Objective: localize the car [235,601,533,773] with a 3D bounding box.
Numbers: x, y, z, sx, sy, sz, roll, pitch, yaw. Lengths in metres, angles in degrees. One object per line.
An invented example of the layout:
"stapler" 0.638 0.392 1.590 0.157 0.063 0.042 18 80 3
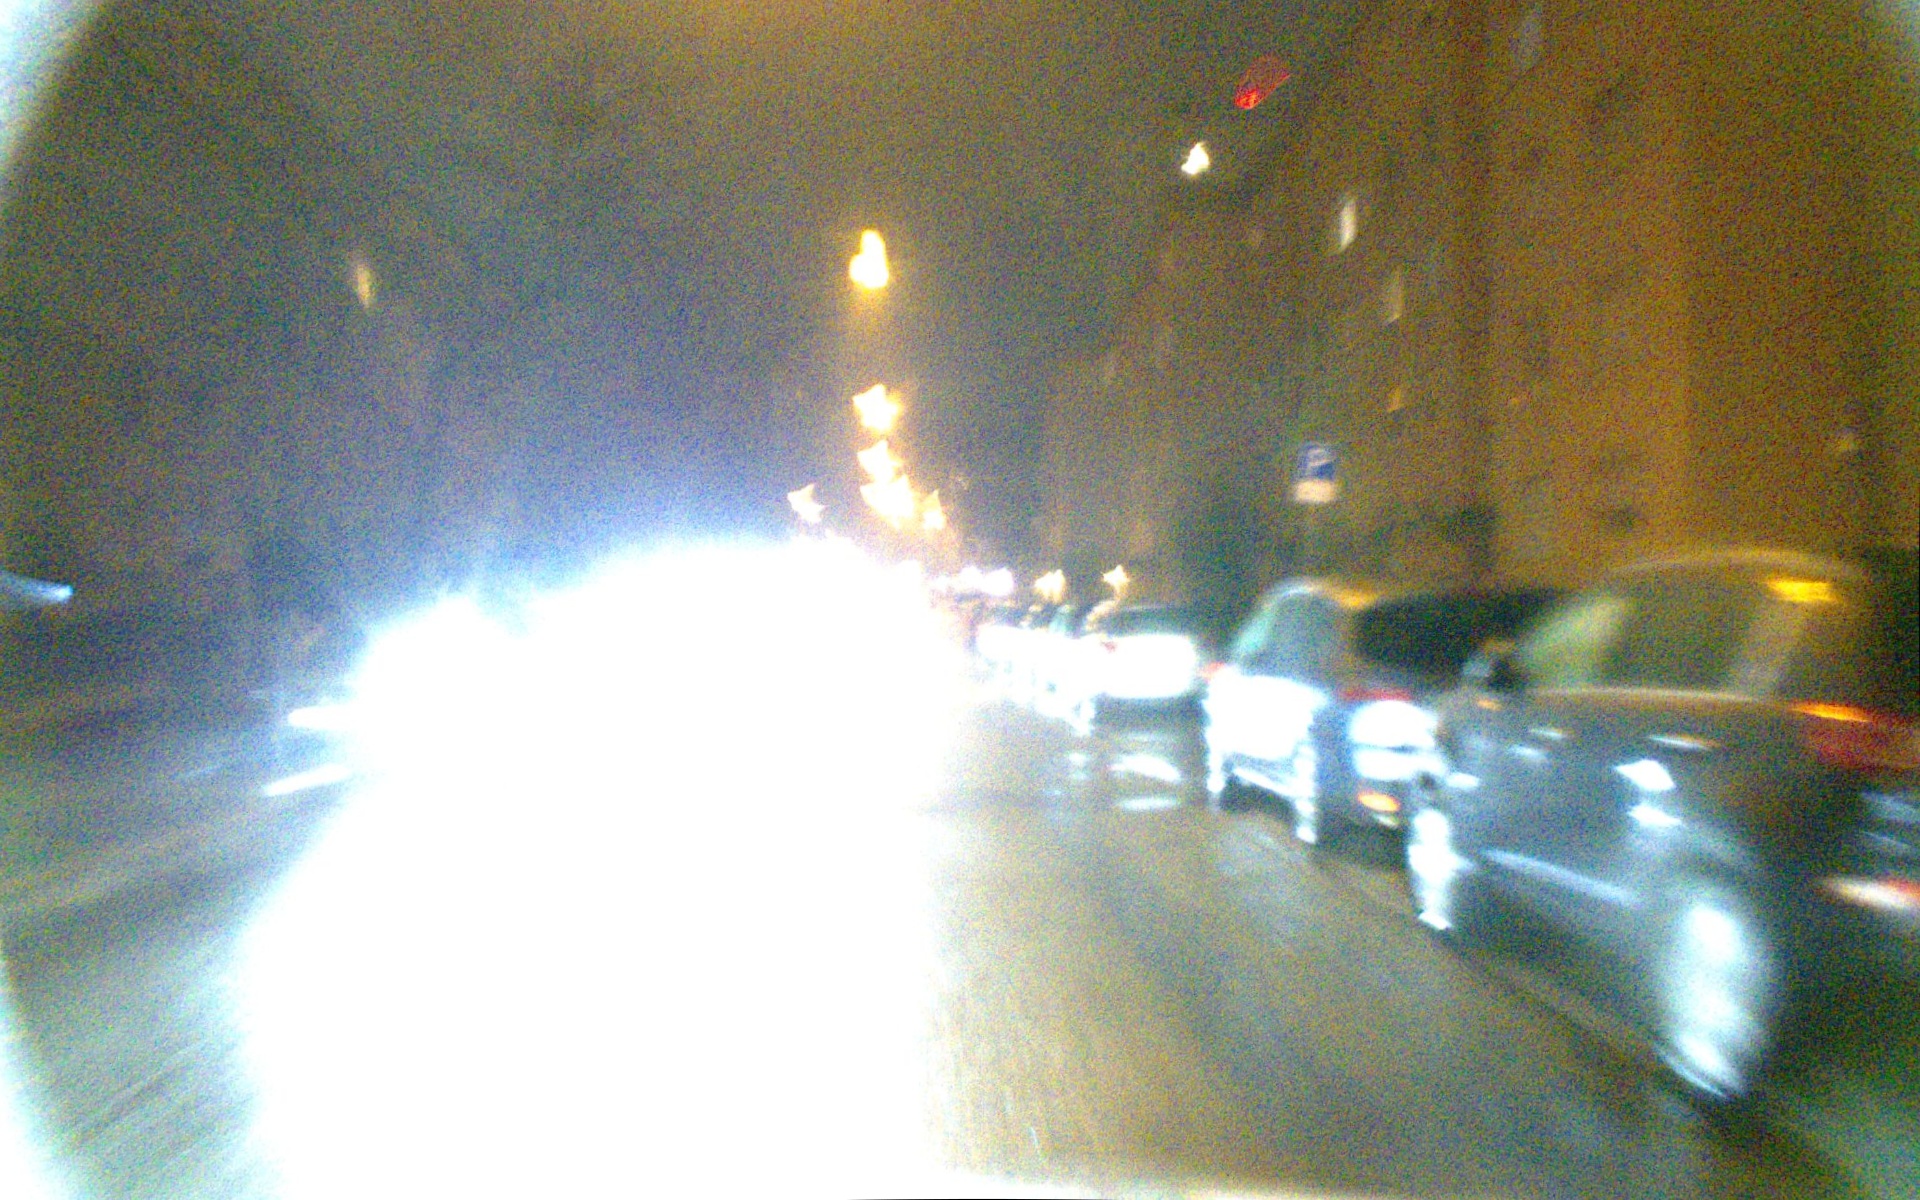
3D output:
"car" -5.966 0.815 17.730 1.546 1.482 4.643 -4 0 -1

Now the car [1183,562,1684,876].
"car" 2.913 0.624 11.354 1.844 1.600 4.586 -3 1 -3

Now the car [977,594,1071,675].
"car" 1.426 0.748 38.370 1.784 1.703 3.998 -3 0 -2

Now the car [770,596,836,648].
"car" -4.709 0.618 50.146 1.784 1.489 4.863 0 0 -3

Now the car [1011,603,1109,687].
"car" 1.877 0.826 32.074 1.466 1.412 3.745 -3 0 -2

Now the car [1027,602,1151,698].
"car" 2.099 0.787 27.808 1.571 1.412 3.791 -3 0 -2

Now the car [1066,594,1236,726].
"car" 2.450 0.711 22.180 1.595 1.492 4.509 -3 0 -1

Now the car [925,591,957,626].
"car" -1.013 0.414 87.468 1.505 1.739 3.802 -3 0 -2

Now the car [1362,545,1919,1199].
"car" 3.131 0.635 6.247 1.844 1.600 4.525 -3 1 -3

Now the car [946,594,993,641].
"car" 0.325 0.606 61.024 1.505 1.589 3.802 -3 0 -2

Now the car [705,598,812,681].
"car" -3.900 0.720 32.629 1.820 1.487 4.520 0 0 -3

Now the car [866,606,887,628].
"car" -7.351 1.503 146.013 1.776 1.739 3.802 -3 0 -2

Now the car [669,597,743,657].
"car" -7.182 0.728 47.031 1.544 1.487 3.998 -5 0 -3

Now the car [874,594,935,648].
"car" -1.868 0.675 56.213 1.953 1.713 3.999 -1 0 -2

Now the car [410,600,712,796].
"car" -3.320 0.743 14.617 1.641 1.460 4.511 0 0 -1

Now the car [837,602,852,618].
"car" -12.787 1.092 182.851 1.505 1.739 3.802 -3 0 -2

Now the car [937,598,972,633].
"car" -0.298 0.748 80.977 1.505 1.589 3.802 -3 0 -2
